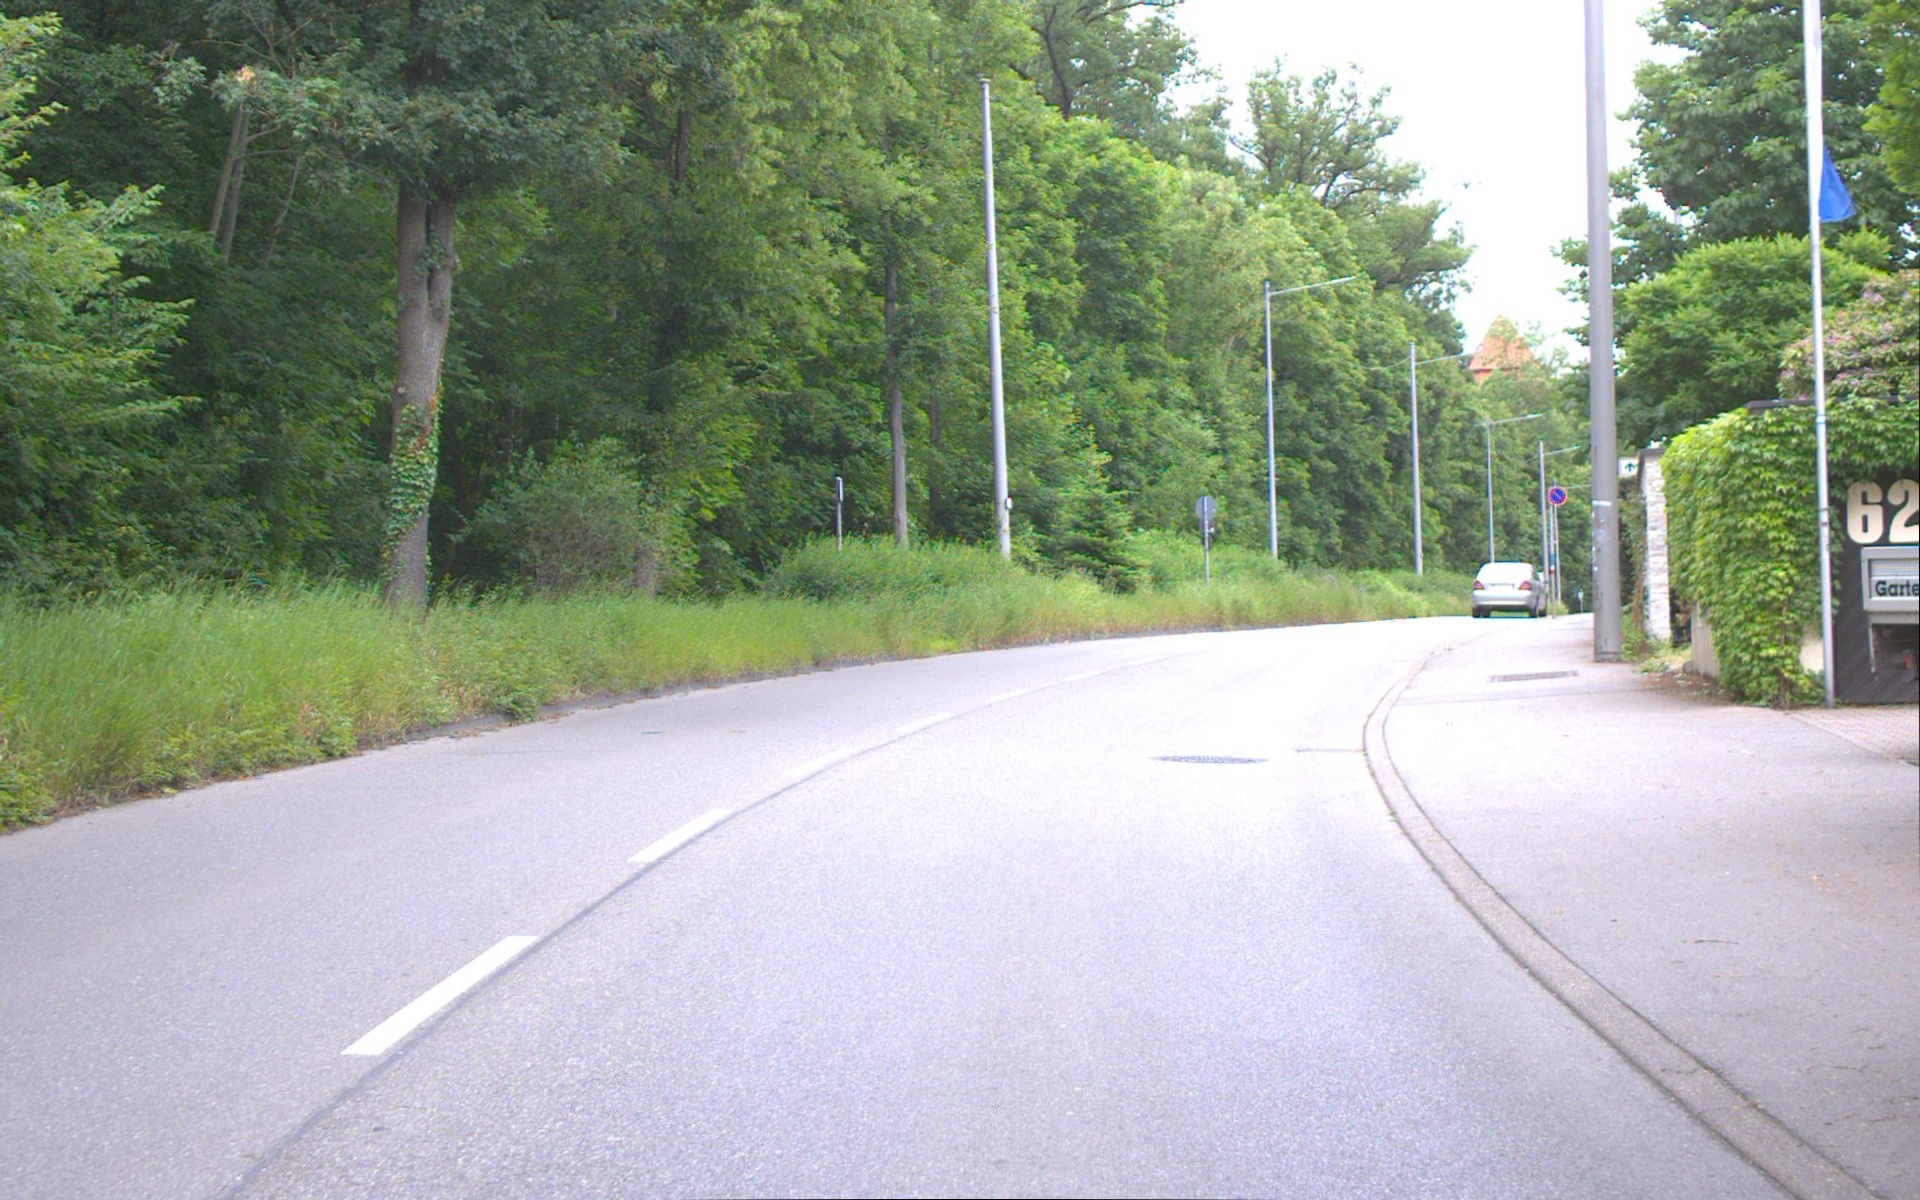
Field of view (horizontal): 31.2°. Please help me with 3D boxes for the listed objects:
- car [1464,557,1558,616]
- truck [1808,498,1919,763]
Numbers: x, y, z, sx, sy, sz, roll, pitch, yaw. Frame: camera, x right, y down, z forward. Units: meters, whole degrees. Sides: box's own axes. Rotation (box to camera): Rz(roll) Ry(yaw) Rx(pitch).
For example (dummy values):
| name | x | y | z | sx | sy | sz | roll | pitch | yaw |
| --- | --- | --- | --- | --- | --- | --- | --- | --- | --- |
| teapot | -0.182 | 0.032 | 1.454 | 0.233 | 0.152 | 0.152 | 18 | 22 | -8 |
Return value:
| name | x | y | z | sx | sy | sz | roll | pitch | yaw |
| --- | --- | --- | --- | --- | --- | --- | --- | --- | --- |
| car | 14.396 | -0.364 | 89.685 | 1.995 | 1.481 | 3.997 | -1 | 1 | 15 |
| truck | 6.939 | 0.182 | 21.668 | 1.350 | 1.684 | 3.060 | -1 | 1 | -29 |
